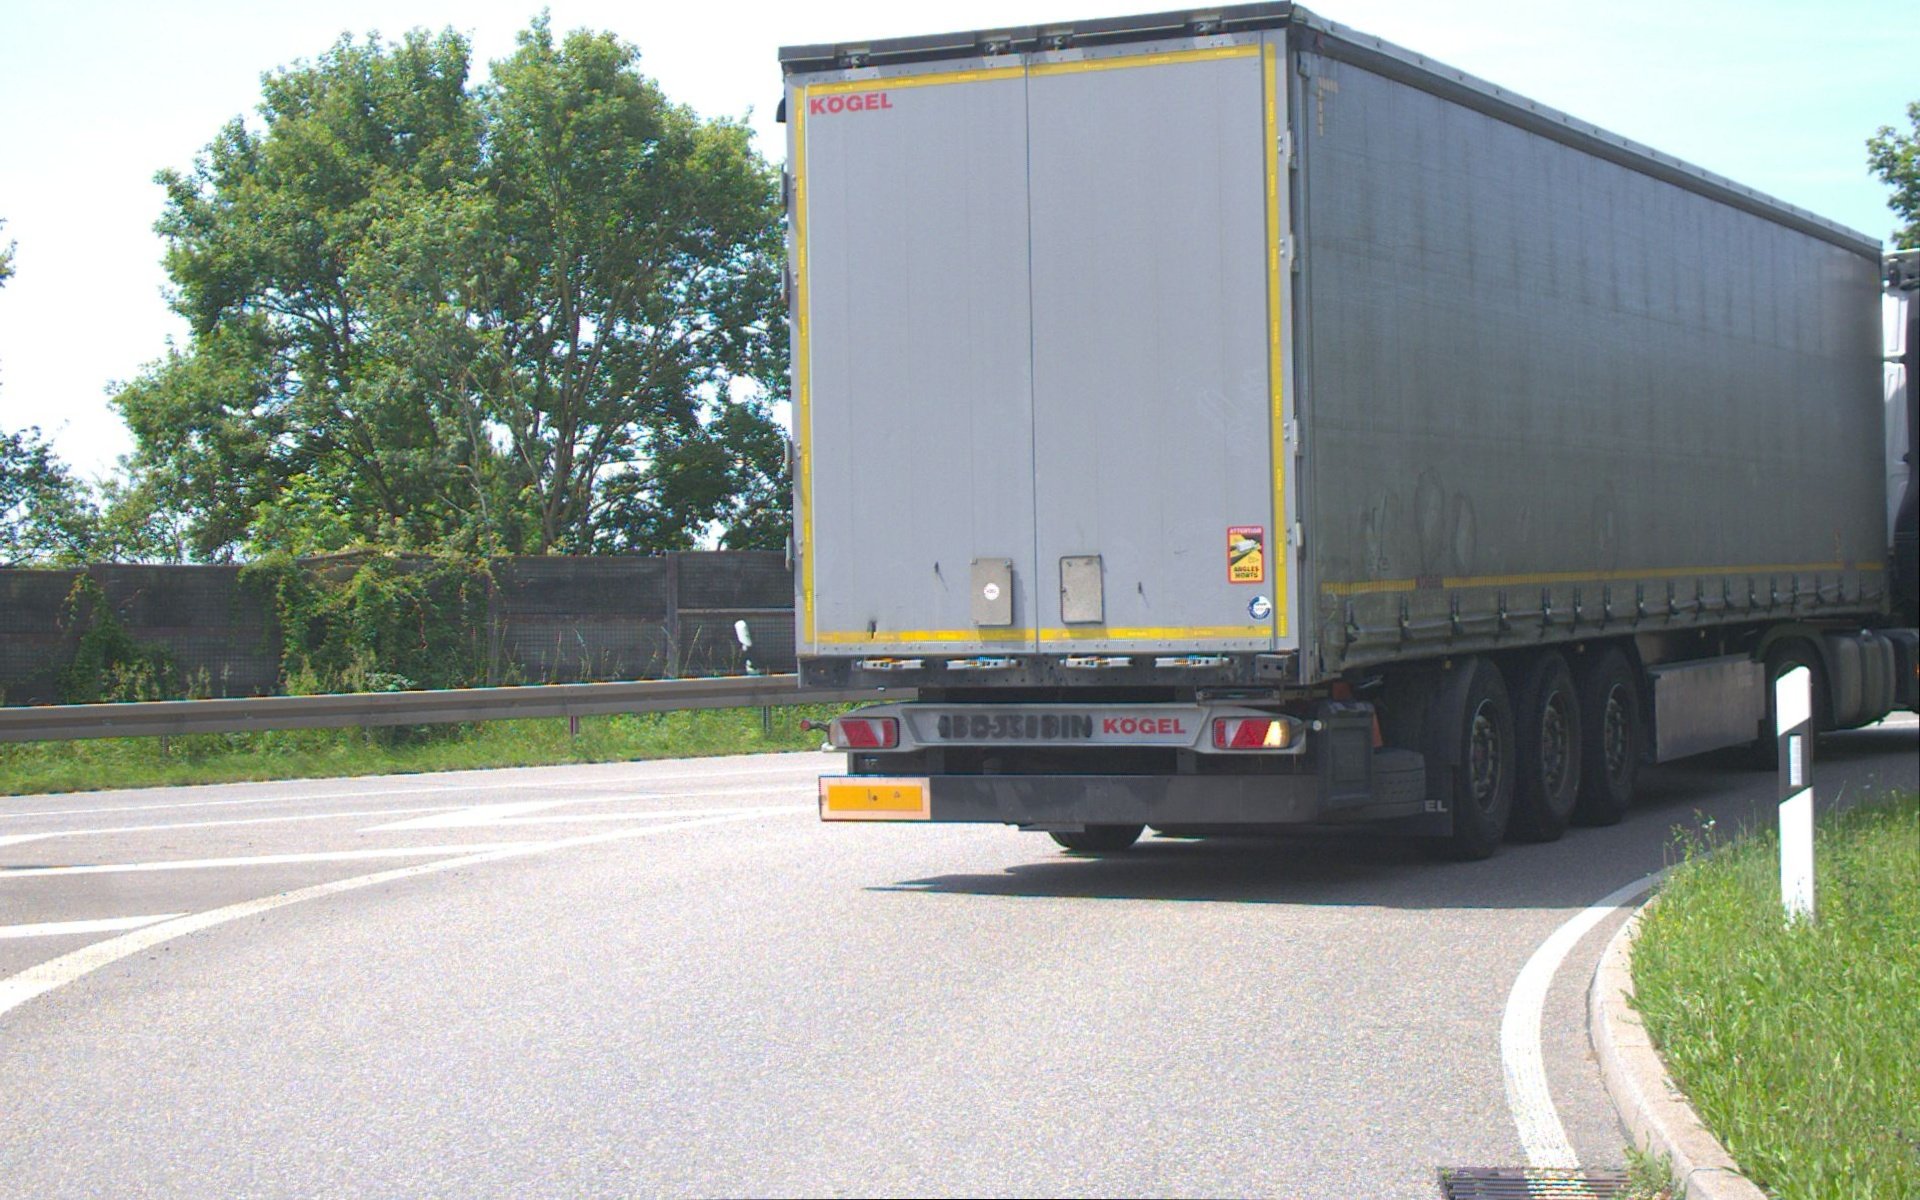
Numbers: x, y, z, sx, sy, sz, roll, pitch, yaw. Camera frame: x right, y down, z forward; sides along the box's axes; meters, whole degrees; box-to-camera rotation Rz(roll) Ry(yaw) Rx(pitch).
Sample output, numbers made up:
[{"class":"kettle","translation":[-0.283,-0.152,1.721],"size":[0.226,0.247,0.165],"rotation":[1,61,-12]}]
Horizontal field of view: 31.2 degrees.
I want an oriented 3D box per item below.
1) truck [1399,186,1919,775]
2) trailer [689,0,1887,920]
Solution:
[{"class":"truck","translation":[6.906,-0.932,28.320],"size":[3.160,4.210,7.106],"rotation":[0,1,40]},{"class":"trailer","translation":[2.975,-0.710,21.363],"size":[3.031,4.021,13.334],"rotation":[-1,0,25]}]
